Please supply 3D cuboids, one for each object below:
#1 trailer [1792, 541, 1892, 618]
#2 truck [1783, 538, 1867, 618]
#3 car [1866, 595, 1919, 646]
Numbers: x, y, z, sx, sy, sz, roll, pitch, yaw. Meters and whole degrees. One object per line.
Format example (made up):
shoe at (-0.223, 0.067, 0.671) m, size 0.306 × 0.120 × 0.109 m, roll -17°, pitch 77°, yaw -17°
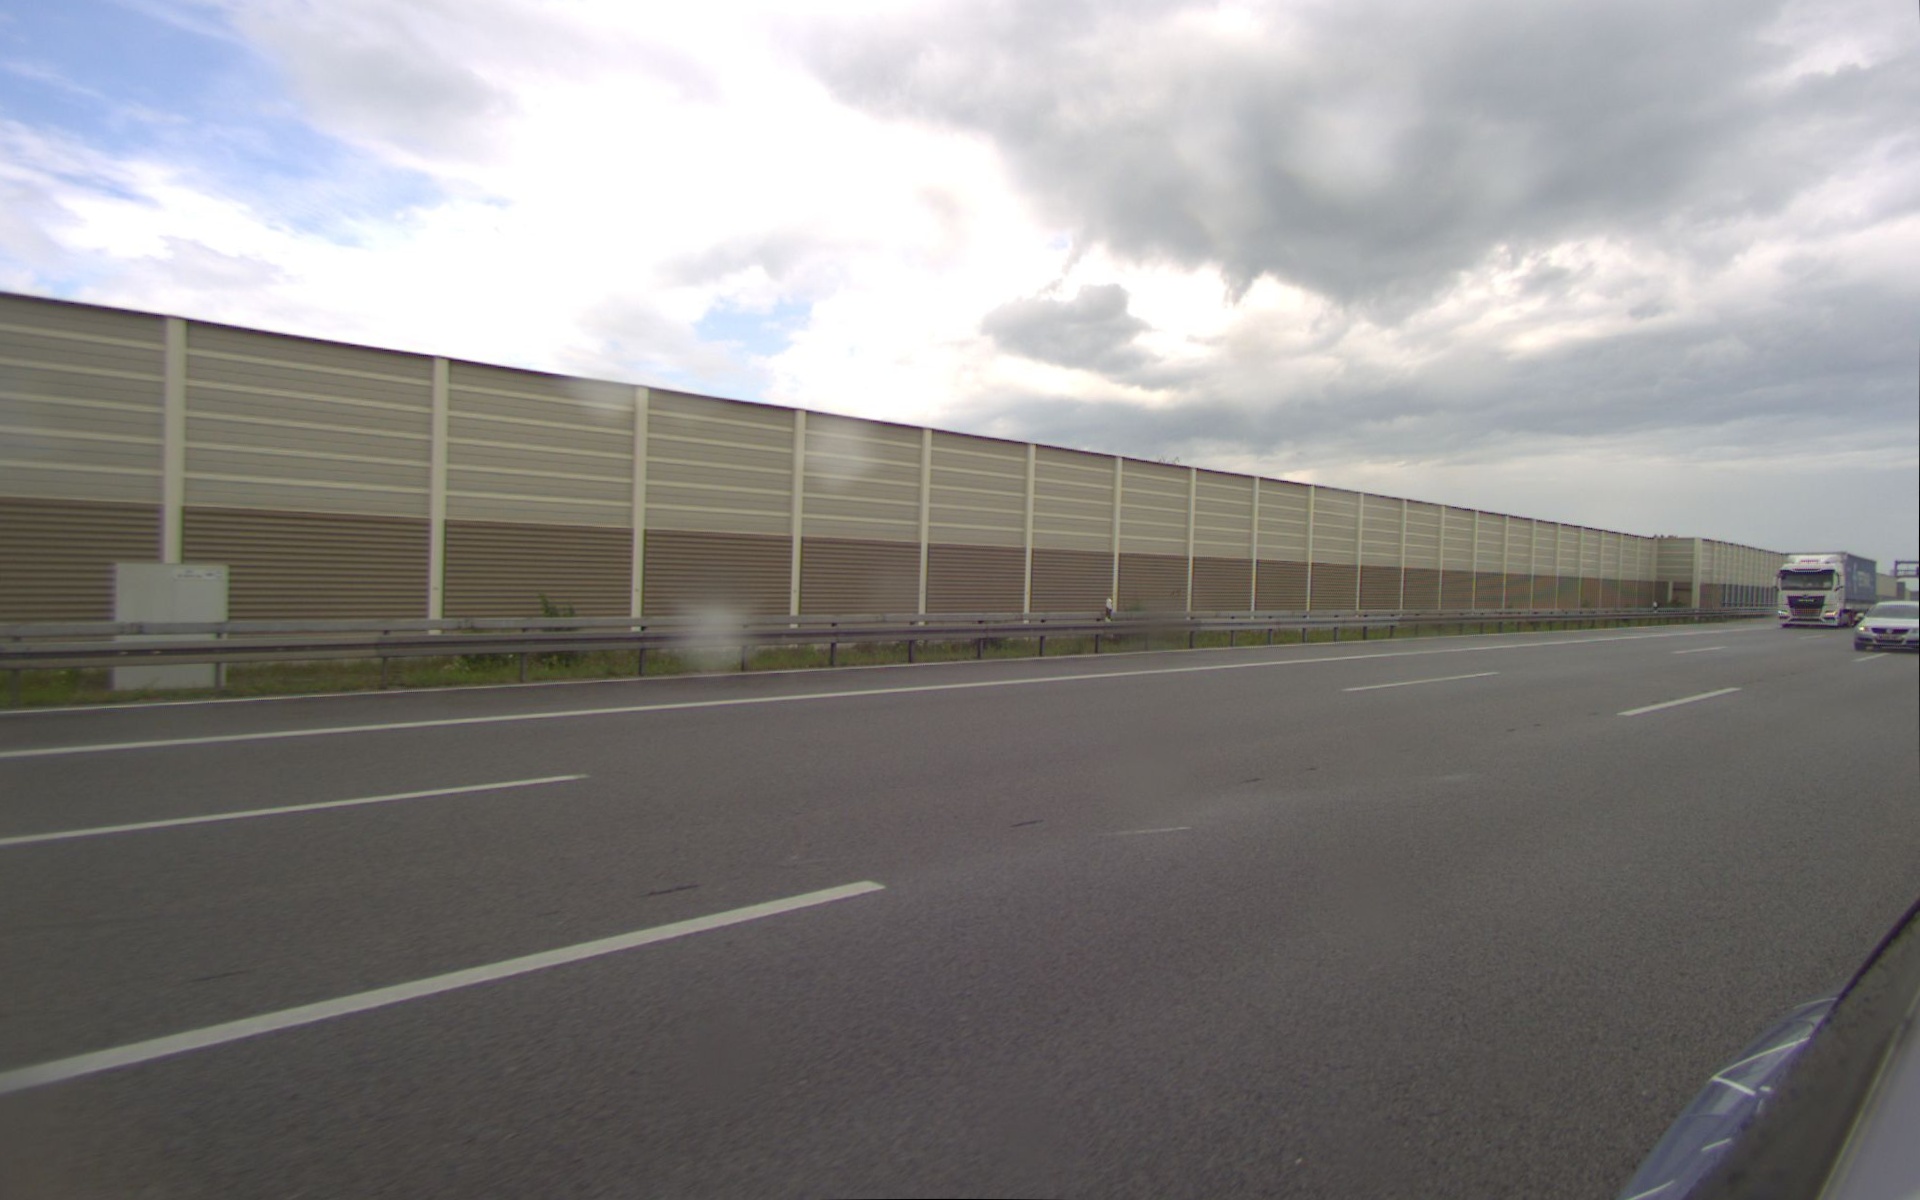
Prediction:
trailer at (51.956, -1.048, 59.399) m, size 14.203 × 4.083 × 2.765 m, roll 1°, pitch 0°, yaw -42°
truck at (46.955, -1.123, 54.884) m, size 5.627 × 4.086 × 2.749 m, roll 1°, pitch 0°, yaw -42°
car at (28.310, 0.586, 30.001) m, size 3.931 × 1.420 × 1.730 m, roll 1°, pitch 0°, yaw -42°
